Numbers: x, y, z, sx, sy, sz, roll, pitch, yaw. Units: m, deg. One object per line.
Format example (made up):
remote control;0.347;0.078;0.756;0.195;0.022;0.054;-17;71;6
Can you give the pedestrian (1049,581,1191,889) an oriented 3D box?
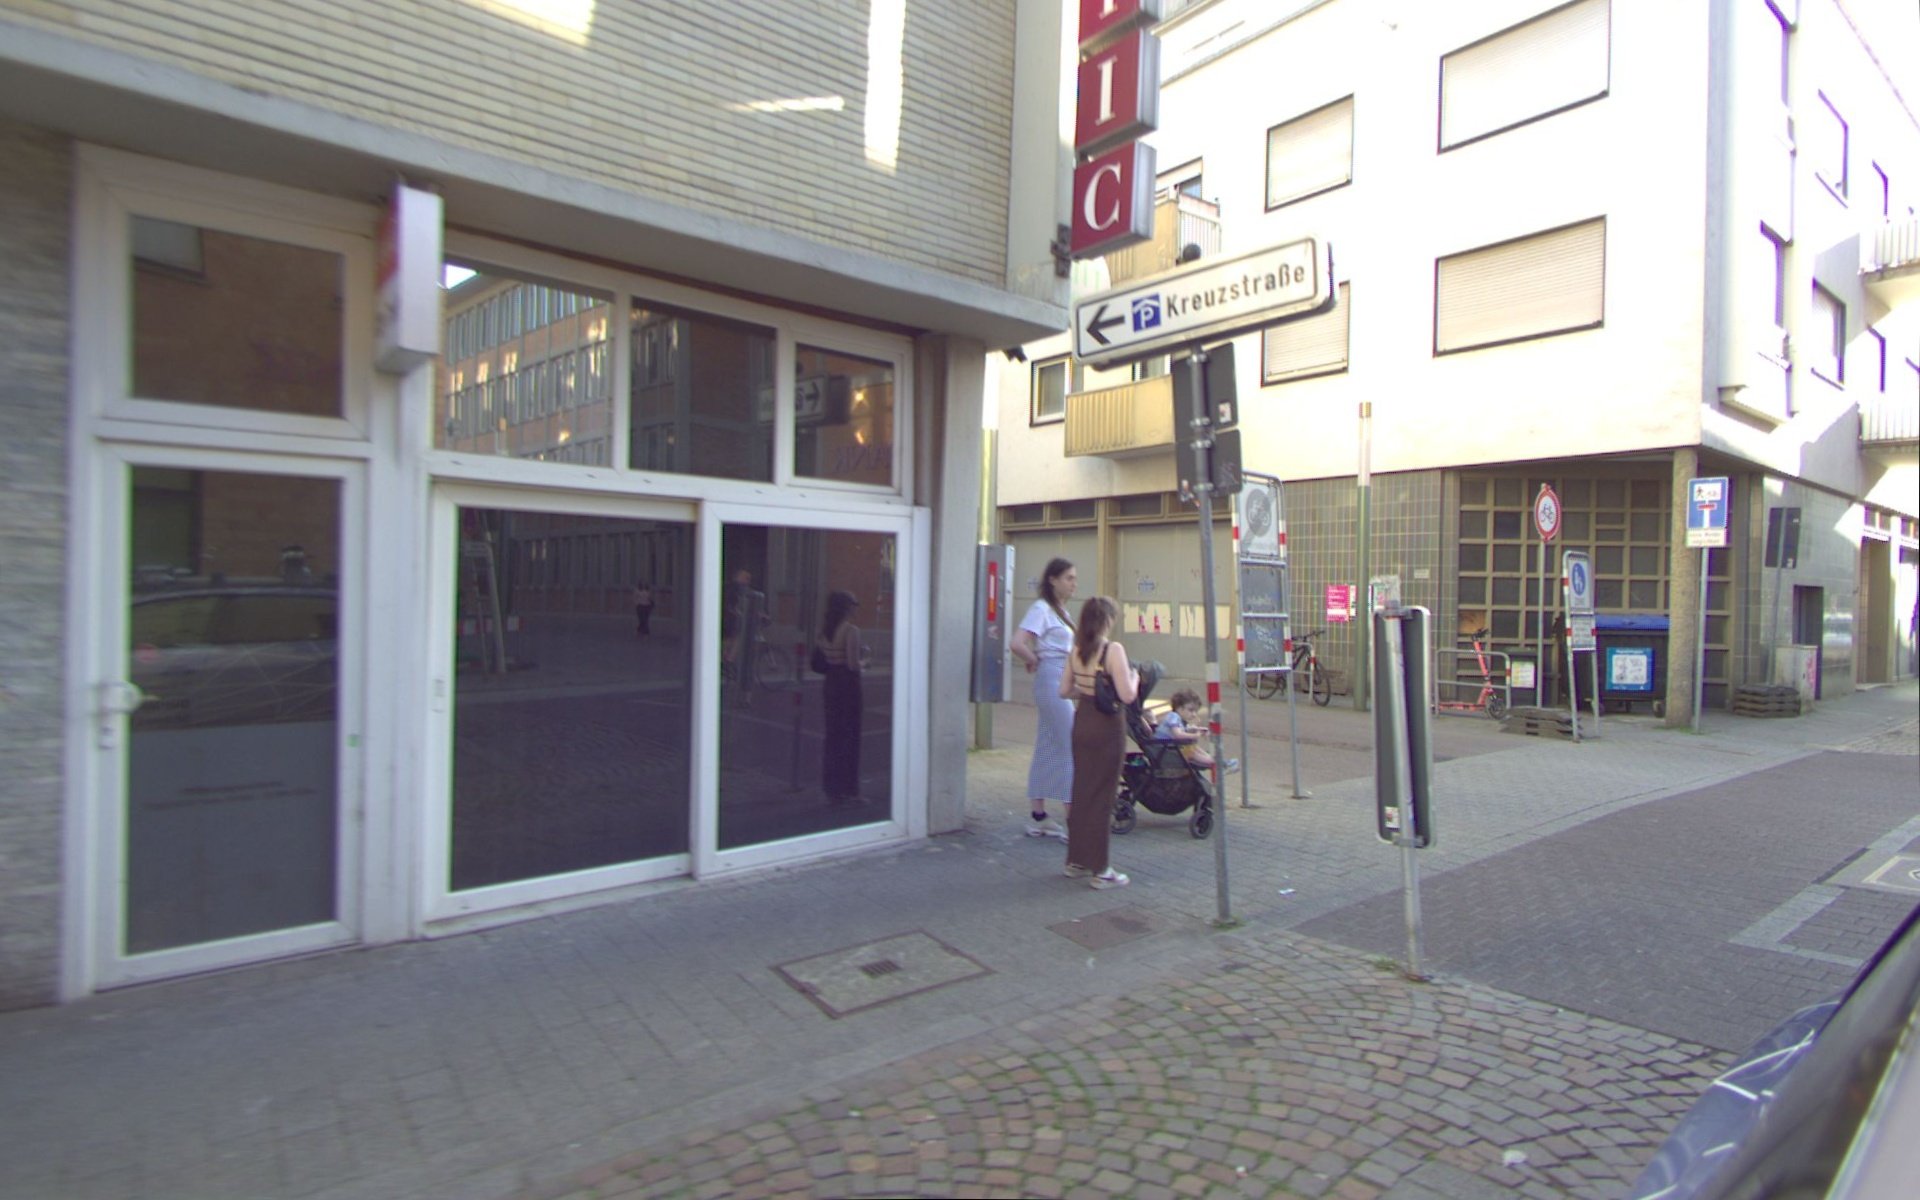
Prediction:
pedestrian;0.864;0.695;5.543;0.432;1.559;0.575;2;2;-30

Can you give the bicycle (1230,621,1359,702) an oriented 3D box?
bicycle;5.169;0.919;15.758;0.668;1.141;1.894;1;-1;-33

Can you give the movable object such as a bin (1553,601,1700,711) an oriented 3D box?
movable object such as a bin;9.621;0.773;14.678;1.412;1.481;1.125;1;0;11

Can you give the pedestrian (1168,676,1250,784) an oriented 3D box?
pedestrian;1.652;0.848;6.693;0.502;0.641;0.330;1;0;18

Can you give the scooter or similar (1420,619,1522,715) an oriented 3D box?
scooter or similar;7.096;0.903;14.079;0.489;1.238;1.161;1;0;-40

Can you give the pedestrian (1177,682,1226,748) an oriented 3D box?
pedestrian;1.683;0.795;7.049;0.308;0.403;0.330;1;0;17

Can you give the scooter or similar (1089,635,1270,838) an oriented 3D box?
scooter or similar;1.454;0.885;6.905;1.026;1.191;0.870;3;0;4

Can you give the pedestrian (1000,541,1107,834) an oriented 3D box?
pedestrian;0.594;0.522;6.450;0.611;1.758;0.626;1;0;5

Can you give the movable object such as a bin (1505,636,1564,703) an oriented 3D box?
movable object such as a bin;8.600;1.026;15.173;0.587;0.938;0.605;1;0;10
